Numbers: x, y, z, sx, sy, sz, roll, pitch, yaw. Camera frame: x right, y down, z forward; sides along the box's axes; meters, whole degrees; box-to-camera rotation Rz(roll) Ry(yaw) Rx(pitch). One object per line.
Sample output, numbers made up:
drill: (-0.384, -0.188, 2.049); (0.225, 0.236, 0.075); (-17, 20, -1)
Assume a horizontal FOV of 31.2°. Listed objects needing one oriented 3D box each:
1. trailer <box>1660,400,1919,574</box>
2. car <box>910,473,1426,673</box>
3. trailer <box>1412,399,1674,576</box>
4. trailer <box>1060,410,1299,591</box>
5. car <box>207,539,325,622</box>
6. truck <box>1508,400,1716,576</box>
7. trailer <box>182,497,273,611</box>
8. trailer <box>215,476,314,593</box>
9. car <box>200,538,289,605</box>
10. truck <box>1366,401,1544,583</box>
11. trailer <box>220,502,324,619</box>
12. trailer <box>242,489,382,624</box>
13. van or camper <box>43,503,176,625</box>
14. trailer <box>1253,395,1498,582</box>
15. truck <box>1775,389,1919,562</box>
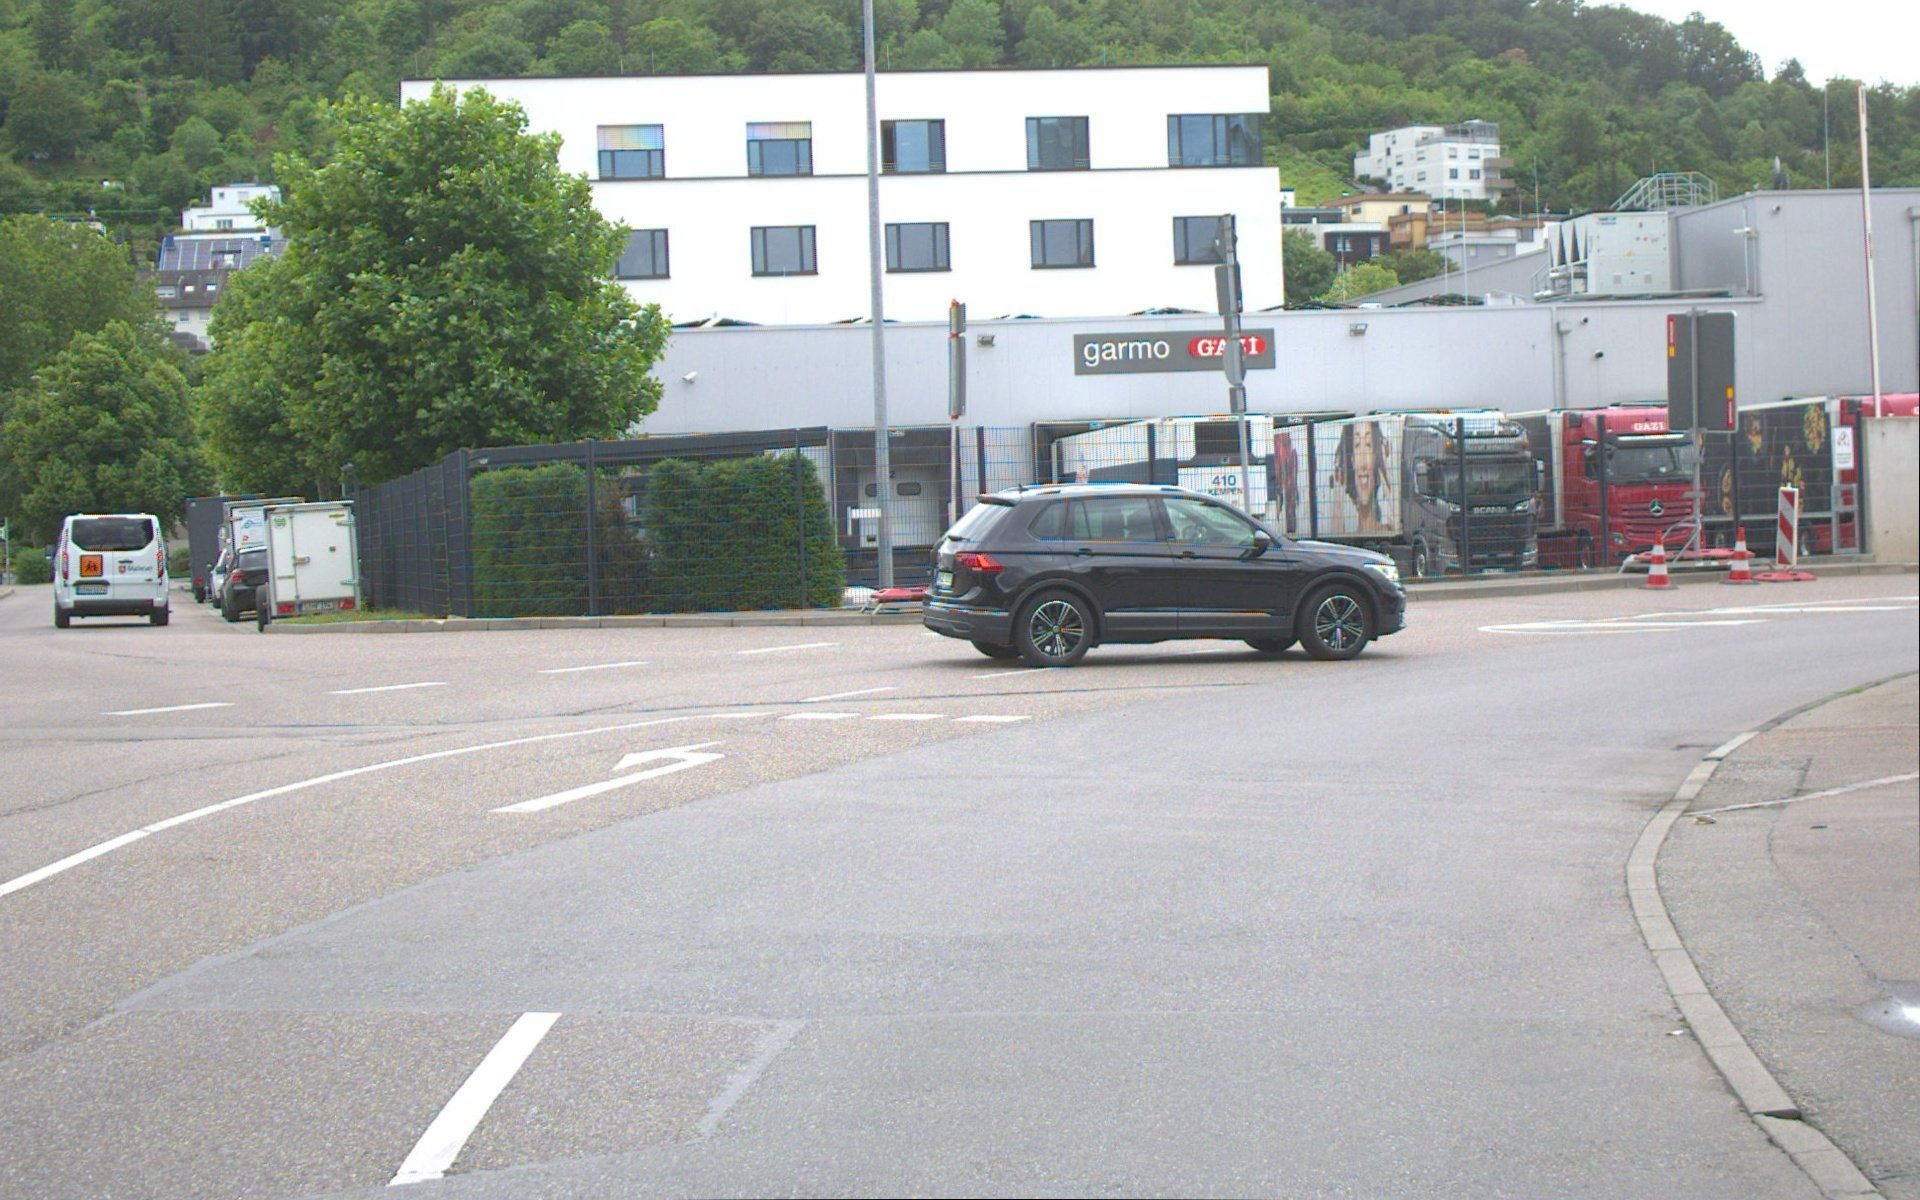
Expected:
trailer: (21.212, -2.742, 87.187); (2.782, 4.064, 10.999); (-2, 1, -10)
car: (1.878, -0.269, 31.711); (4.355, 1.678, 2.001); (-2, 1, -11)
trailer: (14.392, -2.674, 85.995); (2.782, 4.064, 10.999); (-2, 1, -10)
trailer: (5.206, -2.318, 84.355); (3.080, 4.064, 11.413); (-2, 1, -10)
car: (-13.450, -0.407, 66.512); (1.993, 1.503, 4.183); (-2, 1, -14)
truck: (15.246, -2.556, 80.830); (2.792, 3.915, 5.927); (-2, 1, -10)
trailer: (-19.862, -1.260, 93.200); (2.278, 2.943, 4.001); (-2, 1, -12)
trailer: (-23.430, -2.201, 115.639); (3.067, 3.746, 4.935); (-2, 1, -12)
car: (-17.210, -0.703, 82.802); (1.993, 1.503, 4.001); (-2, 1, -11)
truck: (11.363, -2.445, 79.245); (2.792, 4.026, 4.166); (-2, 1, -10)
trailer: (-14.440, -0.844, 72.003); (1.993, 2.335, 4.001); (-2, 1, -12)
trailer: (-10.313, -0.705, 54.545); (1.993, 2.007, 4.001); (-2, 1, -12)
van or camper: (-15.517, -0.636, 62.611); (2.098, 2.076, 4.206); (-2, 0, -16)
trailer: (10.194, -2.640, 85.835); (2.782, 4.286, 11.185); (-2, 1, -10)
truck: (22.011, -2.911, 81.960); (2.792, 3.915, 5.927); (-2, 1, -10)
